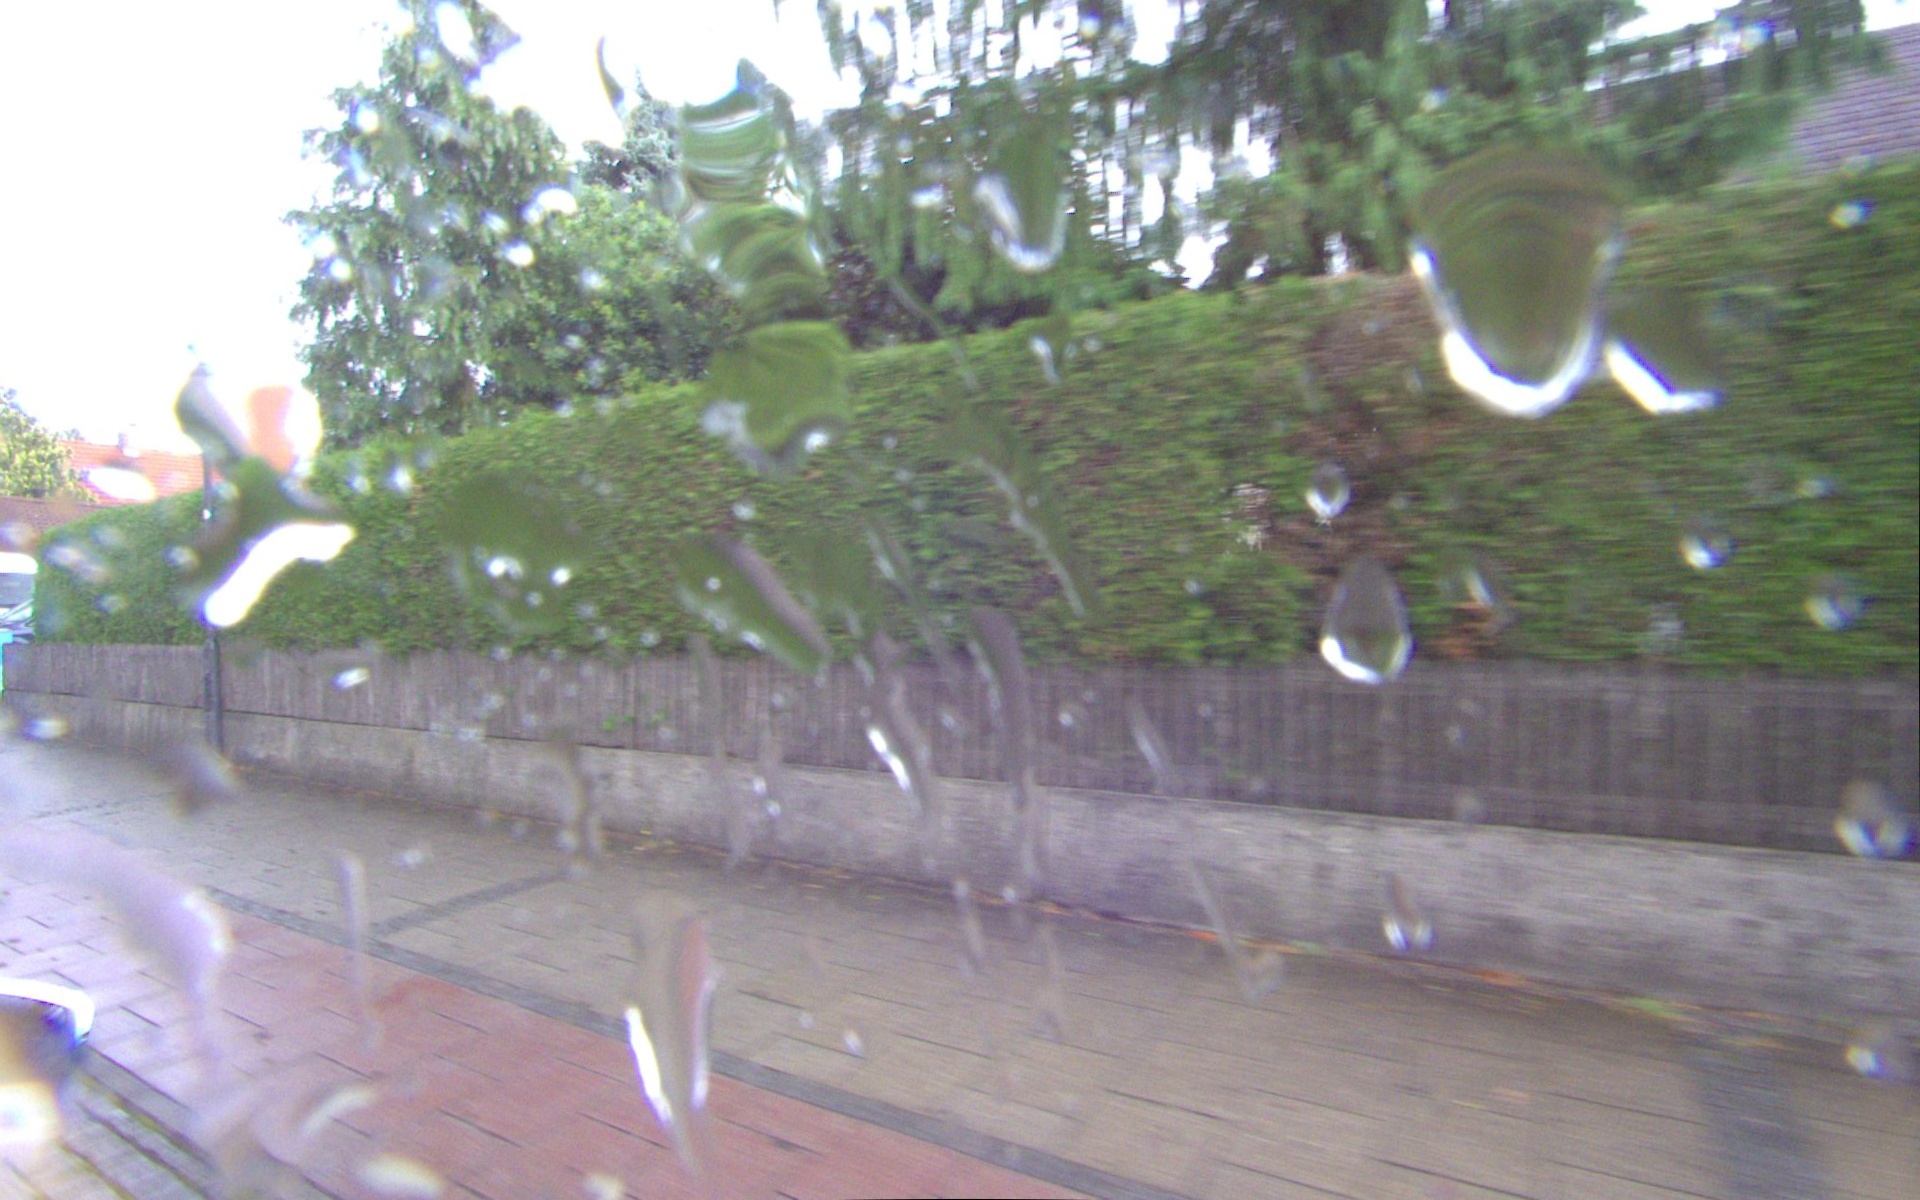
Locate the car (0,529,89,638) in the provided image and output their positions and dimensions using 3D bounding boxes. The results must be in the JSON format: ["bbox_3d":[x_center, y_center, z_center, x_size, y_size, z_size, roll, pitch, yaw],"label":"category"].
[{"bbox_3d":[-21.640,-0.276,21.766,4.867,2.201,1.997,-1,-2,20],"label":"car"}]

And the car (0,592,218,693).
[{"bbox_3d":[-17.162,0.745,19.470,1.668,1.775,4.087,2,1,30],"label":"car"}]
